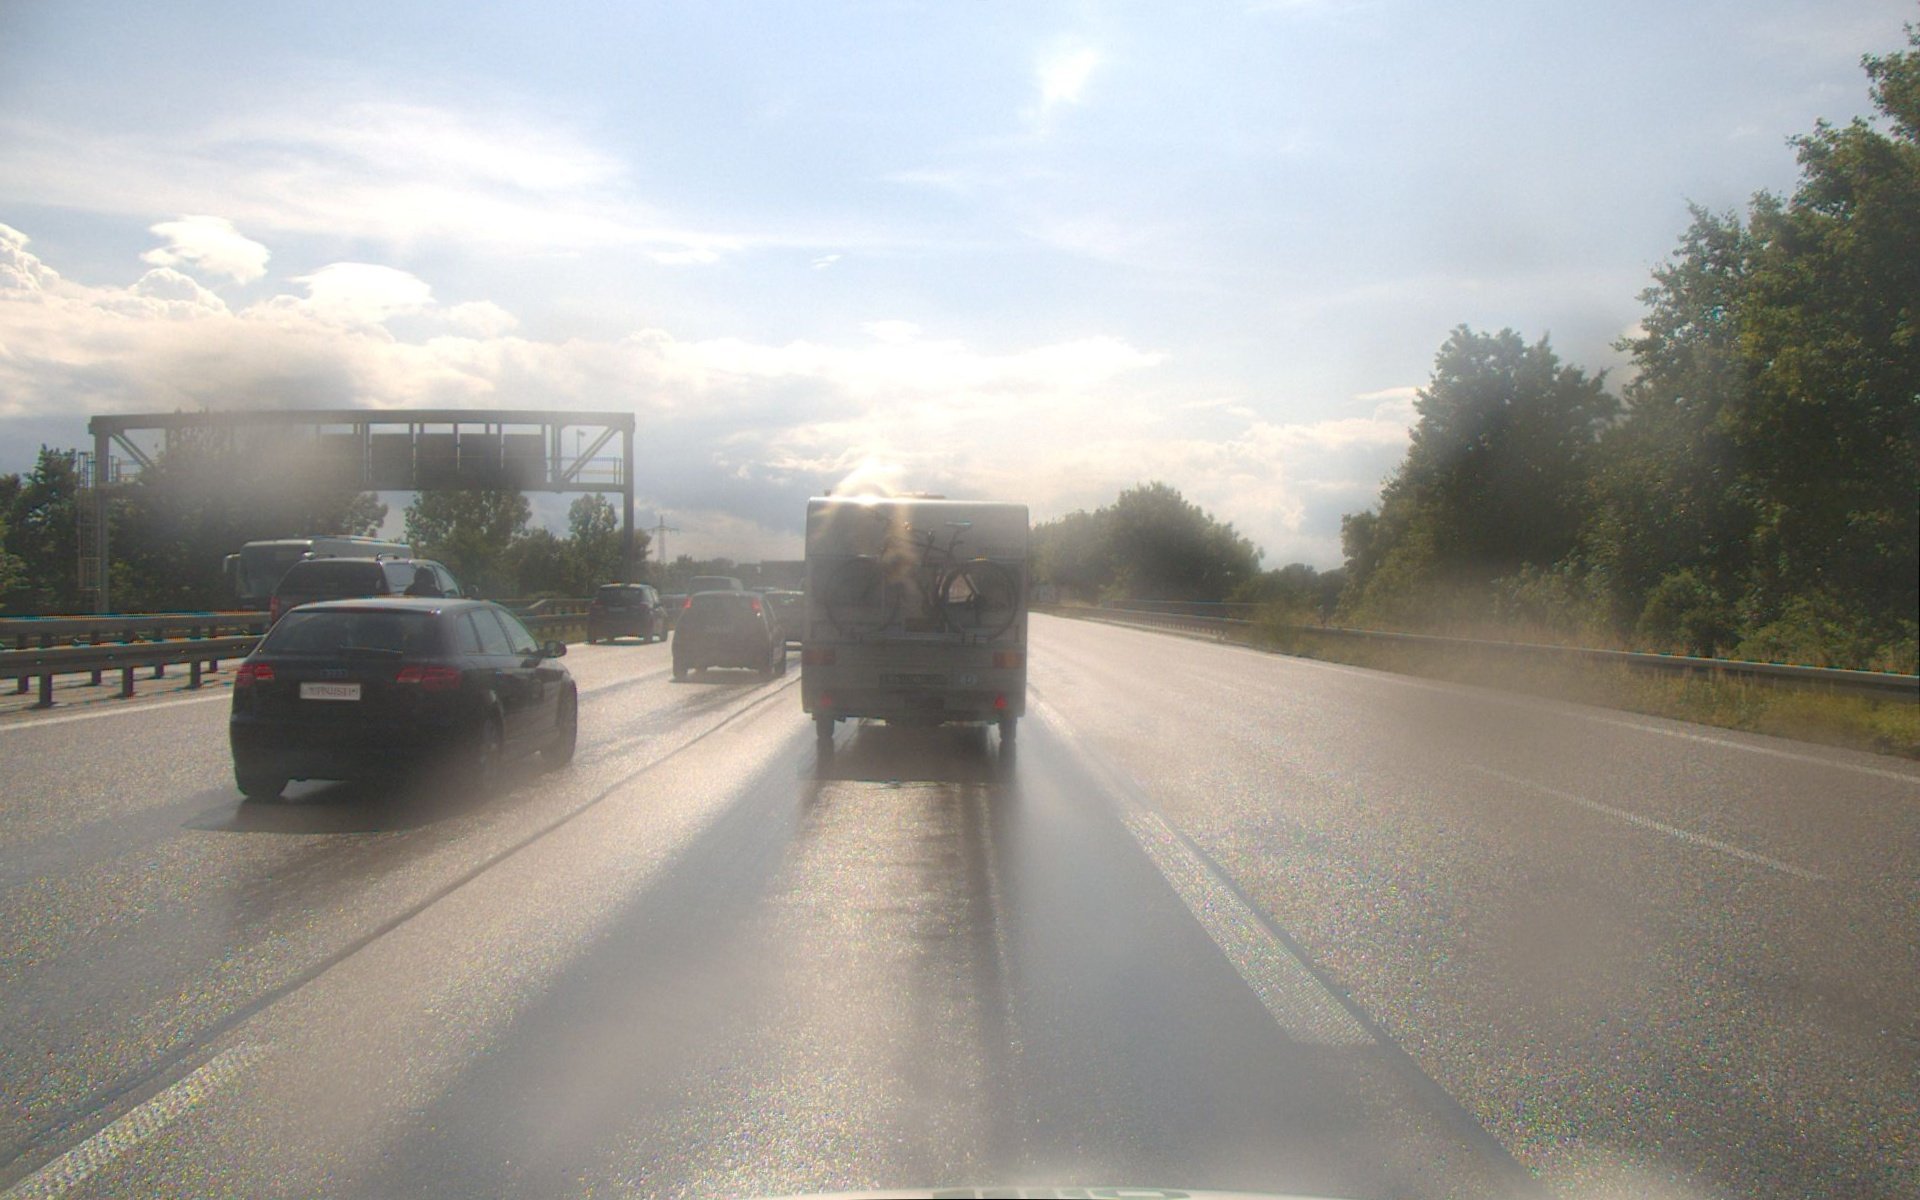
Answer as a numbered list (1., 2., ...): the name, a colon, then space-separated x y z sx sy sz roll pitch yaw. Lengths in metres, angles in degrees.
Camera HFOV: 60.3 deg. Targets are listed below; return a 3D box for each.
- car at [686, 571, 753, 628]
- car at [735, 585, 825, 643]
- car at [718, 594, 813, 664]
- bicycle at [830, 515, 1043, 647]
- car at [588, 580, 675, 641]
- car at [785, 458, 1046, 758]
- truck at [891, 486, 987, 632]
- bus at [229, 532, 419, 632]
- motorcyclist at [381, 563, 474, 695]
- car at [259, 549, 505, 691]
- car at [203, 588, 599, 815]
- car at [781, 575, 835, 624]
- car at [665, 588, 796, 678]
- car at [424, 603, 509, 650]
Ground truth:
1. car: -8.781 -0.039 60.787 1.810 1.967 5.015 1 0 -1
2. car: -4.771 0.344 44.277 1.947 1.483 3.826 1 0 0
3. car: -4.444 0.625 38.310 1.825 1.534 3.999 0 0 -2
4. bicycle: -0.209 -0.171 15.023 1.894 1.161 0.384 1 0 1
5. car: -9.160 0.266 46.340 1.747 1.606 3.915 1 0 -2
6. car: -0.400 0.075 17.225 2.361 2.721 4.000 1 0 0
7. truck: -0.811 -1.340 59.010 3.082 4.707 10.732 0 0 -2
8. bus: -23.346 -0.641 61.661 2.880 3.343 12.205 0 0 -3
9. motorcyclist: -6.491 0.342 20.204 0.779 1.564 1.093 0 0 -1
10. car: -8.483 0.248 24.849 1.769 1.876 5.418 1 0 0
11. car: -4.063 0.643 12.745 1.714 1.458 4.053 1 0 -1
12. car: -5.440 -0.027 59.658 1.654 1.691 3.640 0 0 -1
13. car: -3.959 0.525 29.150 1.722 1.468 4.000 1 0 0
14. car: -16.488 0.859 55.399 1.740 1.467 3.999 0 0 -2
